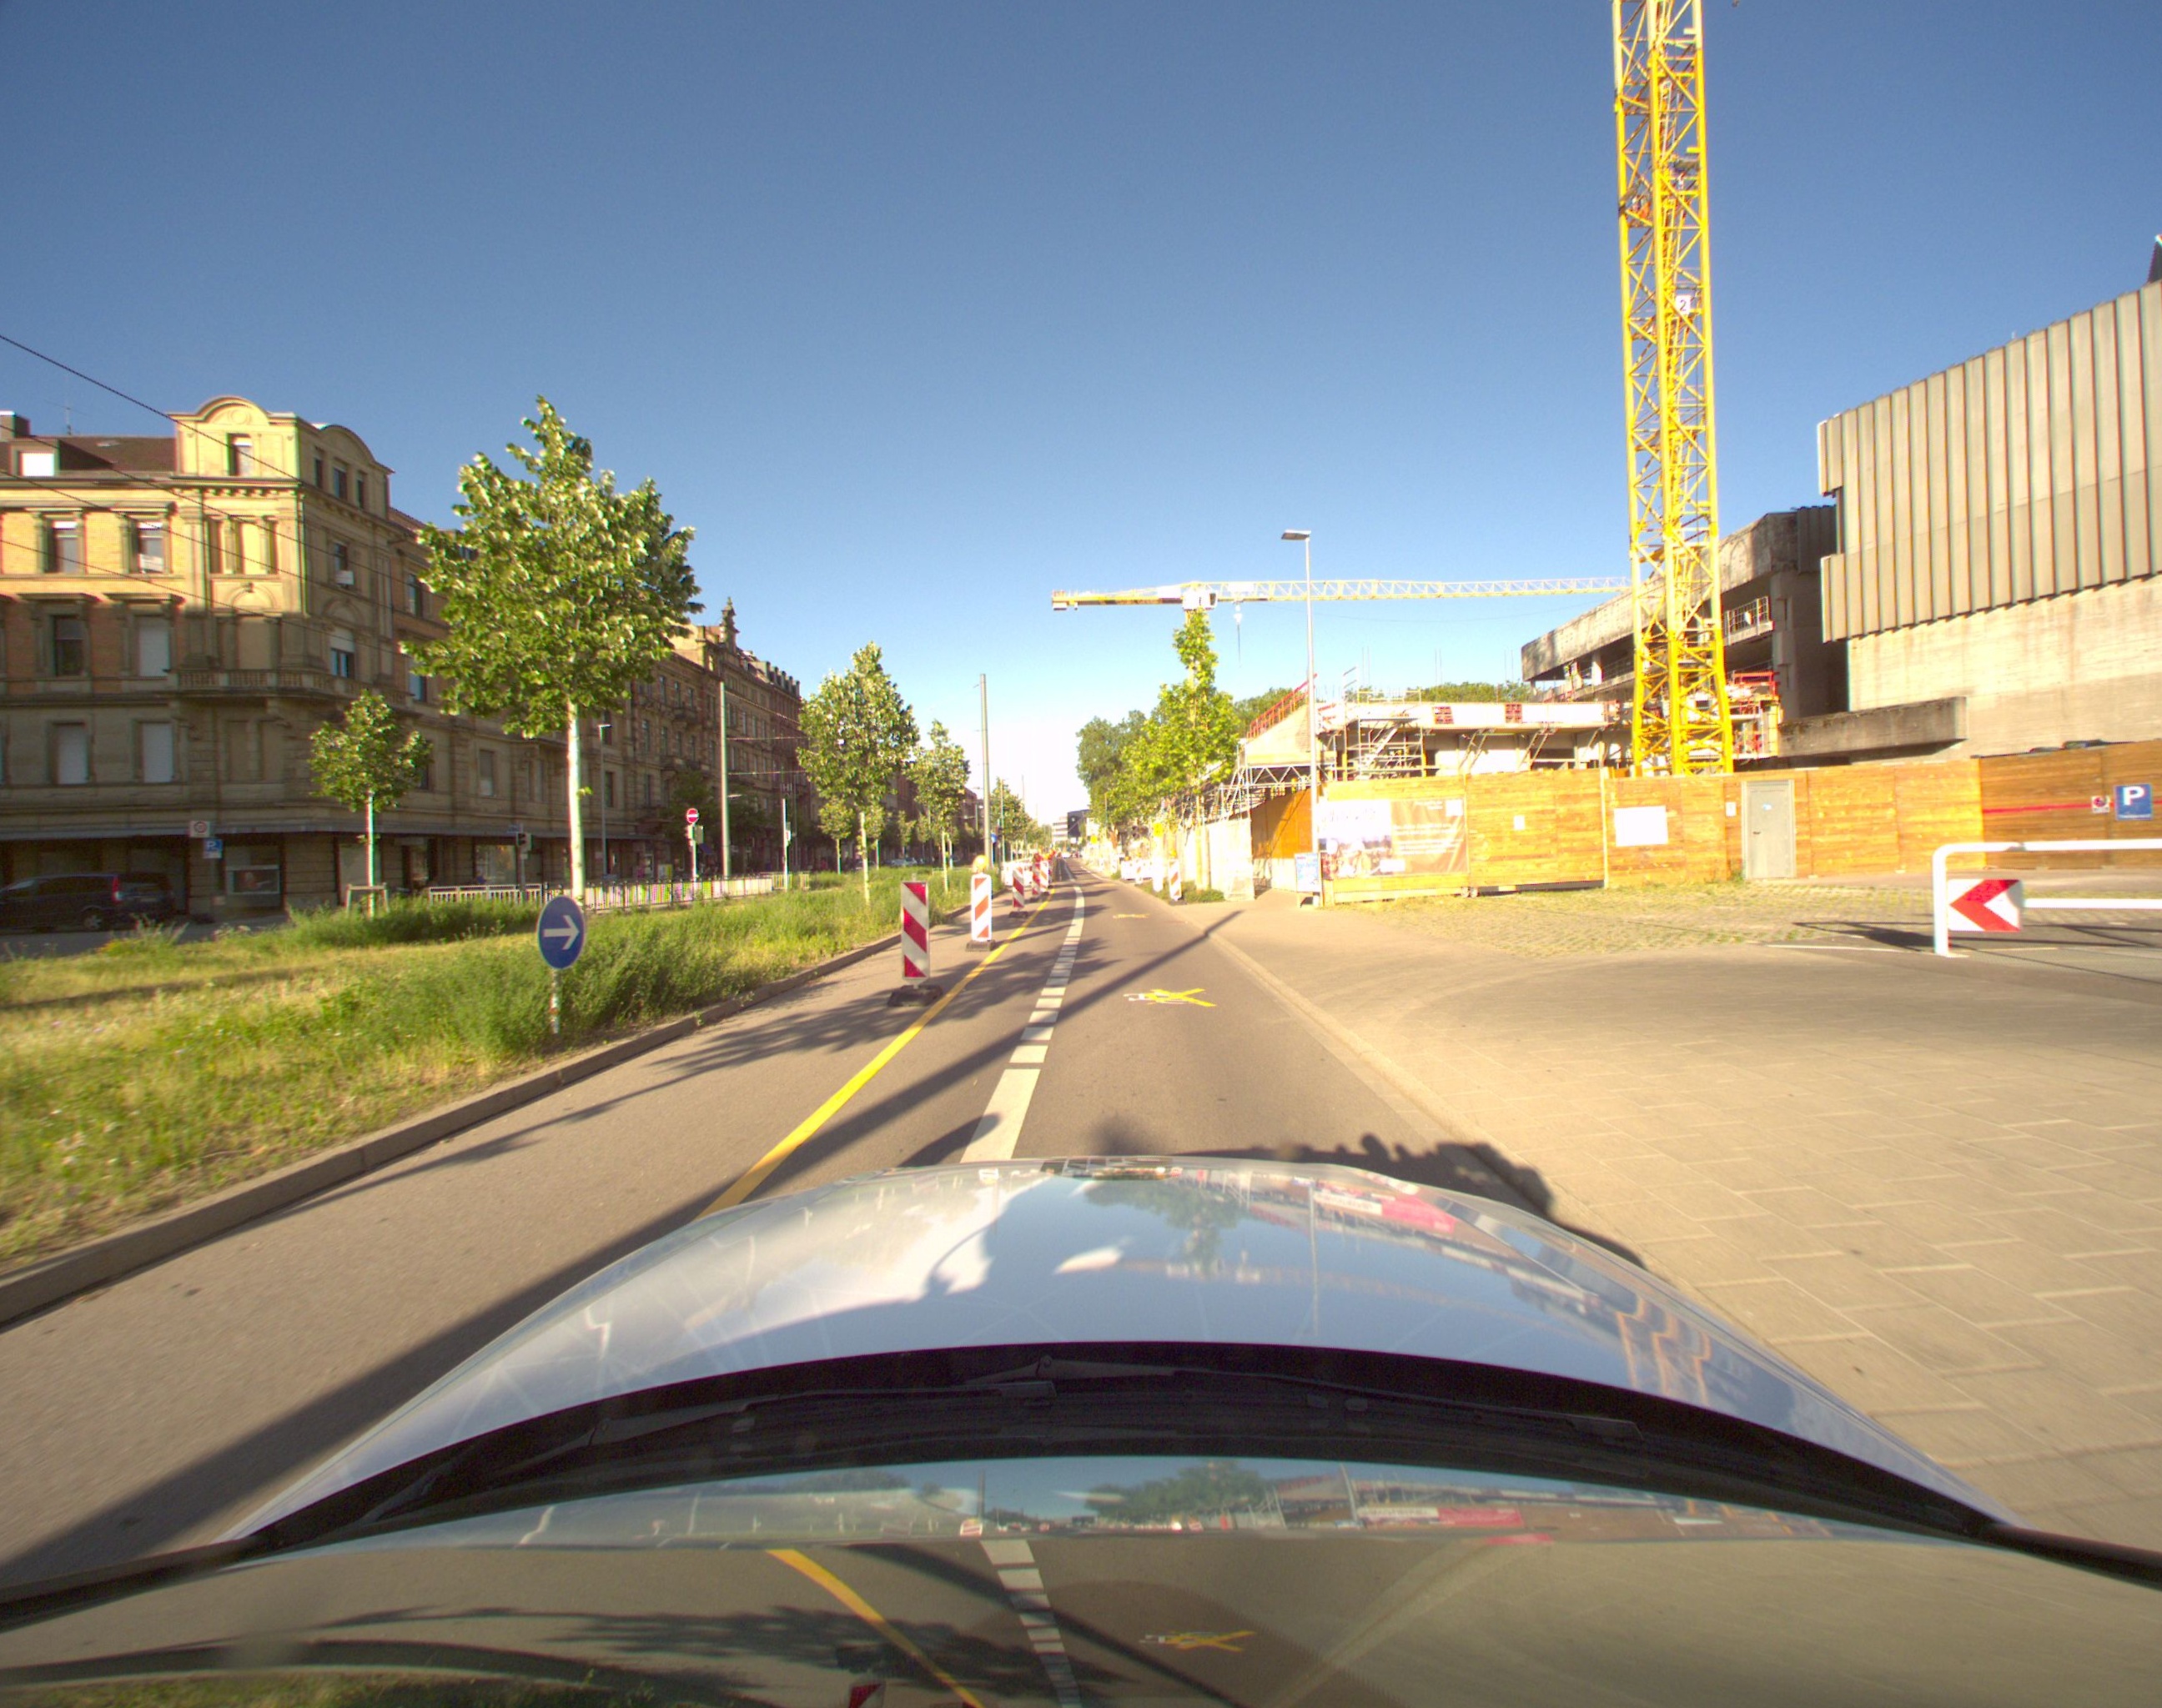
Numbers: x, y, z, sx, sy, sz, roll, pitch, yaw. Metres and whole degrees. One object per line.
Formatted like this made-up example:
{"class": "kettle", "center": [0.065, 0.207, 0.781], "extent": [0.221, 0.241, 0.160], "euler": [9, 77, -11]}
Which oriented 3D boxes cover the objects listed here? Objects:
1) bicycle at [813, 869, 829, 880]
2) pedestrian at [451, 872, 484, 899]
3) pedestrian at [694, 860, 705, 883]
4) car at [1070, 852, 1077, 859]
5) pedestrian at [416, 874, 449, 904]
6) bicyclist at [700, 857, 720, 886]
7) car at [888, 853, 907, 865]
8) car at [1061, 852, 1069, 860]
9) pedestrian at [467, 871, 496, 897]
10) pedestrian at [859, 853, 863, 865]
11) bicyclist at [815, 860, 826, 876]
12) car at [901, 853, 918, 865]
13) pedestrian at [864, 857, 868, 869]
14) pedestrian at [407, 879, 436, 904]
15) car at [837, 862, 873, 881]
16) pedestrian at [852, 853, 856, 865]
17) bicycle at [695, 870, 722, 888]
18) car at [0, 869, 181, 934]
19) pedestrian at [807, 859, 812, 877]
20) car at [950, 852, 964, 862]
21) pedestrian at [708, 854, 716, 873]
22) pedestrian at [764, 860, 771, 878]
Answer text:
{"class": "bicycle", "center": [-21.499, 1.685, 67.337], "extent": [0.635, 0.857, 2.031], "euler": [-1, 0, 0]}
{"class": "pedestrian", "center": [-28.399, 1.456, 37.700], "extent": [0.789, 1.208, 0.929], "euler": [-1, 0, -1]}
{"class": "pedestrian", "center": [-26.193, 1.184, 55.856], "extent": [0.485, 1.585, 0.533], "euler": [1, 0, -2]}
{"class": "car", "center": [-2.166, 0.424, 233.358], "extent": [1.878, 1.842, 3.665], "euler": [-2, 0, -2]}
{"class": "pedestrian", "center": [-28.539, 1.528, 35.861], "extent": [0.688, 1.246, 0.929], "euler": [-1, 0, 0]}
{"class": "bicyclist", "center": [-21.273, 0.998, 46.672], "extent": [0.693, 1.657, 0.882], "euler": [-1, 0, -1]}
{"class": "car", "center": [-24.068, 0.627, 106.960], "extent": [1.562, 1.562, 4.712], "euler": [-2, 0, -1]}
{"class": "car", "center": [-3.733, 0.569, 194.458], "extent": [1.878, 1.842, 3.665], "euler": [-2, 0, -2]}
{"class": "pedestrian", "center": [-28.637, 1.413, 38.911], "extent": [0.688, 1.208, 0.929], "euler": [-1, 0, 0]}
{"class": "pedestrian", "center": [-28.100, 0.672, 104.033], "extent": [0.404, 1.532, 0.435], "euler": [1, 0, -2]}
{"class": "bicyclist", "center": [-21.505, 1.152, 67.136], "extent": [0.635, 1.239, 0.738], "euler": [-1, 0, 0]}
{"class": "car", "center": [-23.881, 0.623, 113.434], "extent": [1.562, 1.562, 4.711], "euler": [-2, 0, -2]}
{"class": "pedestrian", "center": [-29.877, 1.242, 113.290], "extent": [0.460, 1.585, 0.434], "euler": [1, 0, -8]}
{"class": "pedestrian", "center": [-29.427, 1.664, 36.348], "extent": [0.688, 1.059, 0.735], "euler": [-1, 0, -1]}
{"class": "car", "center": [-18.564, 1.426, 67.131], "extent": [1.847, 1.420, 4.068], "euler": [1, 0, -1]}
{"class": "pedestrian", "center": [-28.981, 0.618, 103.953], "extent": [0.404, 1.534, 0.435], "euler": [1, 0, -2]}
{"class": "bicycle", "center": [-21.258, 1.425, 46.485], "extent": [0.693, 0.978, 1.827], "euler": [-1, 0, 0]}
{"class": "car", "center": [-33.116, 1.538, 26.796], "extent": [4.504, 1.903, 1.894], "euler": [-2, 0, -6]}
{"class": "pedestrian", "center": [-27.599, 1.407, 82.782], "extent": [0.366, 1.765, 0.406], "euler": [1, 0, -2]}
{"class": "car", "center": [-19.942, 0.430, 130.910], "extent": [1.589, 1.483, 3.623], "euler": [-1, 0, 0]}
{"class": "pedestrian", "center": [-30.328, 0.757, 66.953], "extent": [0.381, 1.585, 0.393], "euler": [0, -1, 29]}
{"class": "pedestrian", "center": [-27.640, 1.342, 71.869], "extent": [0.402, 1.585, 0.425], "euler": [1, 0, -2]}
